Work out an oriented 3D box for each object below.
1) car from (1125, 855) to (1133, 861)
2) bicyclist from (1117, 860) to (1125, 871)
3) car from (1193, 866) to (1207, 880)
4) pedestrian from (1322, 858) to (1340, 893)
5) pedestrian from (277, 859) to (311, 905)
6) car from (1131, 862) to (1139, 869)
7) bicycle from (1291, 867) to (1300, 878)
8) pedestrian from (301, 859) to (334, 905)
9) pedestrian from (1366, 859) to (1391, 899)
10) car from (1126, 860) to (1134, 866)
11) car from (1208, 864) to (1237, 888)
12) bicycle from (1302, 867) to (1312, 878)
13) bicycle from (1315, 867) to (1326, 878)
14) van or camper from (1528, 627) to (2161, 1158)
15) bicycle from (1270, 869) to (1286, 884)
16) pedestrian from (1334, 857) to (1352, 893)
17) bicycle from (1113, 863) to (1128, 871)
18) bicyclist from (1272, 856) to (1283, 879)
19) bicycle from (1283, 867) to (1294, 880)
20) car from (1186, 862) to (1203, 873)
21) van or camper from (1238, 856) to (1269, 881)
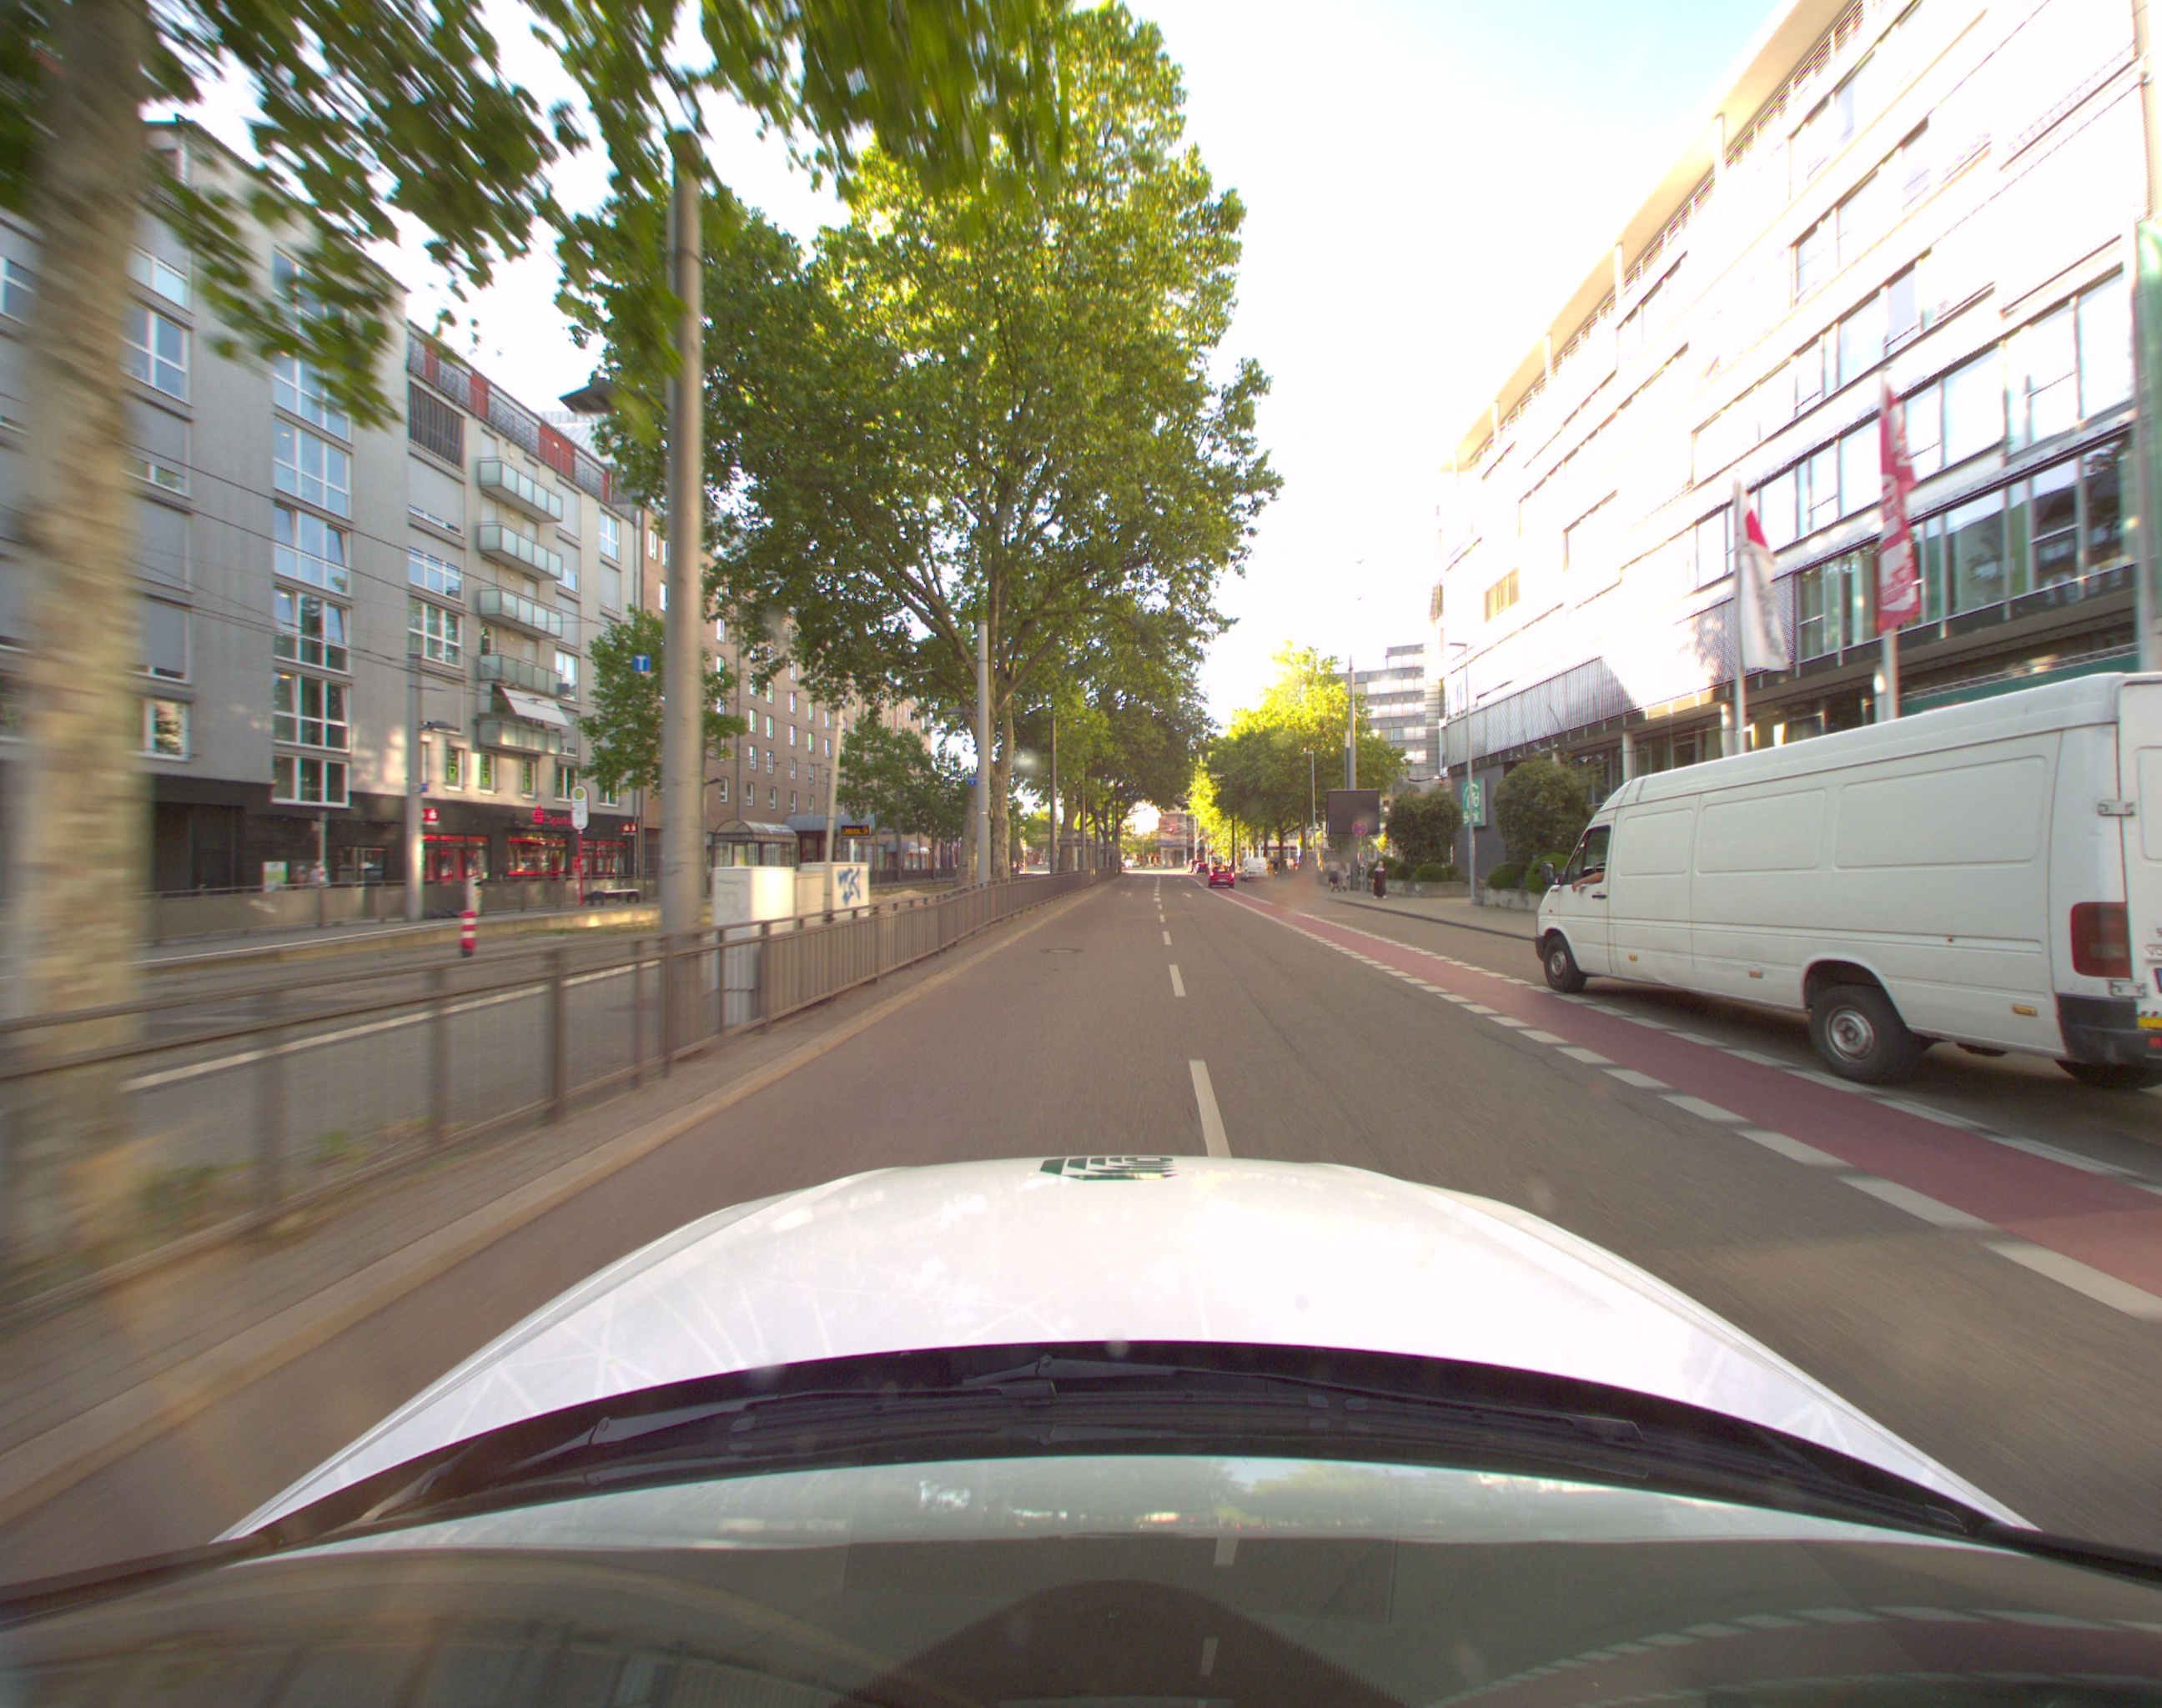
[{"bbox_3d":[12.118,1.053,206.168,1.772,1.588,3.411,0,0,0],"label":"car"},{"bbox_3d":[5.788,1.595,117.765,0.838,1.591,0.835,0,-1,-15],"label":"bicyclist"},{"bbox_3d":[15.395,2.453,105.197,1.627,1.800,3.336,-1,-1,7],"label":"car"},{"bbox_3d":[12.692,1.084,41.386,0.562,1.702,0.907,-4,-1,2],"label":"pedestrian"},{"bbox_3d":[-25.940,0.908,26.850,0.532,1.494,0.588,-1,-1,1],"label":"pedestrian"},{"bbox_3d":[12.816,2.792,193.444,1.772,1.535,3.411,0,0,0],"label":"car"},{"bbox_3d":[19.240,1.673,72.965,0.465,0.982,1.769,-2,-1,4],"label":"bicycle"},{"bbox_3d":[-25.311,0.918,27.000,0.532,1.494,0.588,-1,-1,1],"label":"pedestrian"},{"bbox_3d":[12.202,1.027,33.437,0.640,1.579,0.723,-4,-1,0],"label":"pedestrian"},{"bbox_3d":[12.053,2.179,200.123,1.772,1.535,3.411,0,0,0],"label":"car"},{"bbox_3d":[9.319,1.442,53.775,1.606,1.535,3.416,0,0,5],"label":"car"},{"bbox_3d":[20.208,1.671,72.911,0.501,0.982,1.769,-2,-1,4],"label":"bicycle"},{"bbox_3d":[21.438,1.637,72.854,0.501,0.982,1.769,-2,-1,4],"label":"bicycle"},{"bbox_3d":[6.519,0.218,7.276,1.960,2.716,6.311,0,0,4],"label":"van or camper"},{"bbox_3d":[14.943,1.699,61.814,0.680,1.067,2.472,-2,-1,4],"label":"bicycle"},{"bbox_3d":[13.314,1.073,41.394,0.538,1.796,0.907,-4,-1,2],"label":"pedestrian"},{"bbox_3d":[5.744,1.895,117.734,2.015,1.214,0.835,0,-1,-16],"label":"bicycle"},{"bbox_3d":[14.932,1.034,61.928,0.647,1.702,0.953,0,-1,4],"label":"bicyclist"},{"bbox_3d":[18.603,1.731,72.991,0.583,1.067,1.902,-2,-1,4],"label":"bicycle"},{"bbox_3d":[15.471,1.865,111.282,1.772,1.535,3.511,0,0,0],"label":"car"},{"bbox_3d":[14.338,1.206,67.833,1.984,1.989,4.752,0,-1,6],"label":"van or camper"}]
